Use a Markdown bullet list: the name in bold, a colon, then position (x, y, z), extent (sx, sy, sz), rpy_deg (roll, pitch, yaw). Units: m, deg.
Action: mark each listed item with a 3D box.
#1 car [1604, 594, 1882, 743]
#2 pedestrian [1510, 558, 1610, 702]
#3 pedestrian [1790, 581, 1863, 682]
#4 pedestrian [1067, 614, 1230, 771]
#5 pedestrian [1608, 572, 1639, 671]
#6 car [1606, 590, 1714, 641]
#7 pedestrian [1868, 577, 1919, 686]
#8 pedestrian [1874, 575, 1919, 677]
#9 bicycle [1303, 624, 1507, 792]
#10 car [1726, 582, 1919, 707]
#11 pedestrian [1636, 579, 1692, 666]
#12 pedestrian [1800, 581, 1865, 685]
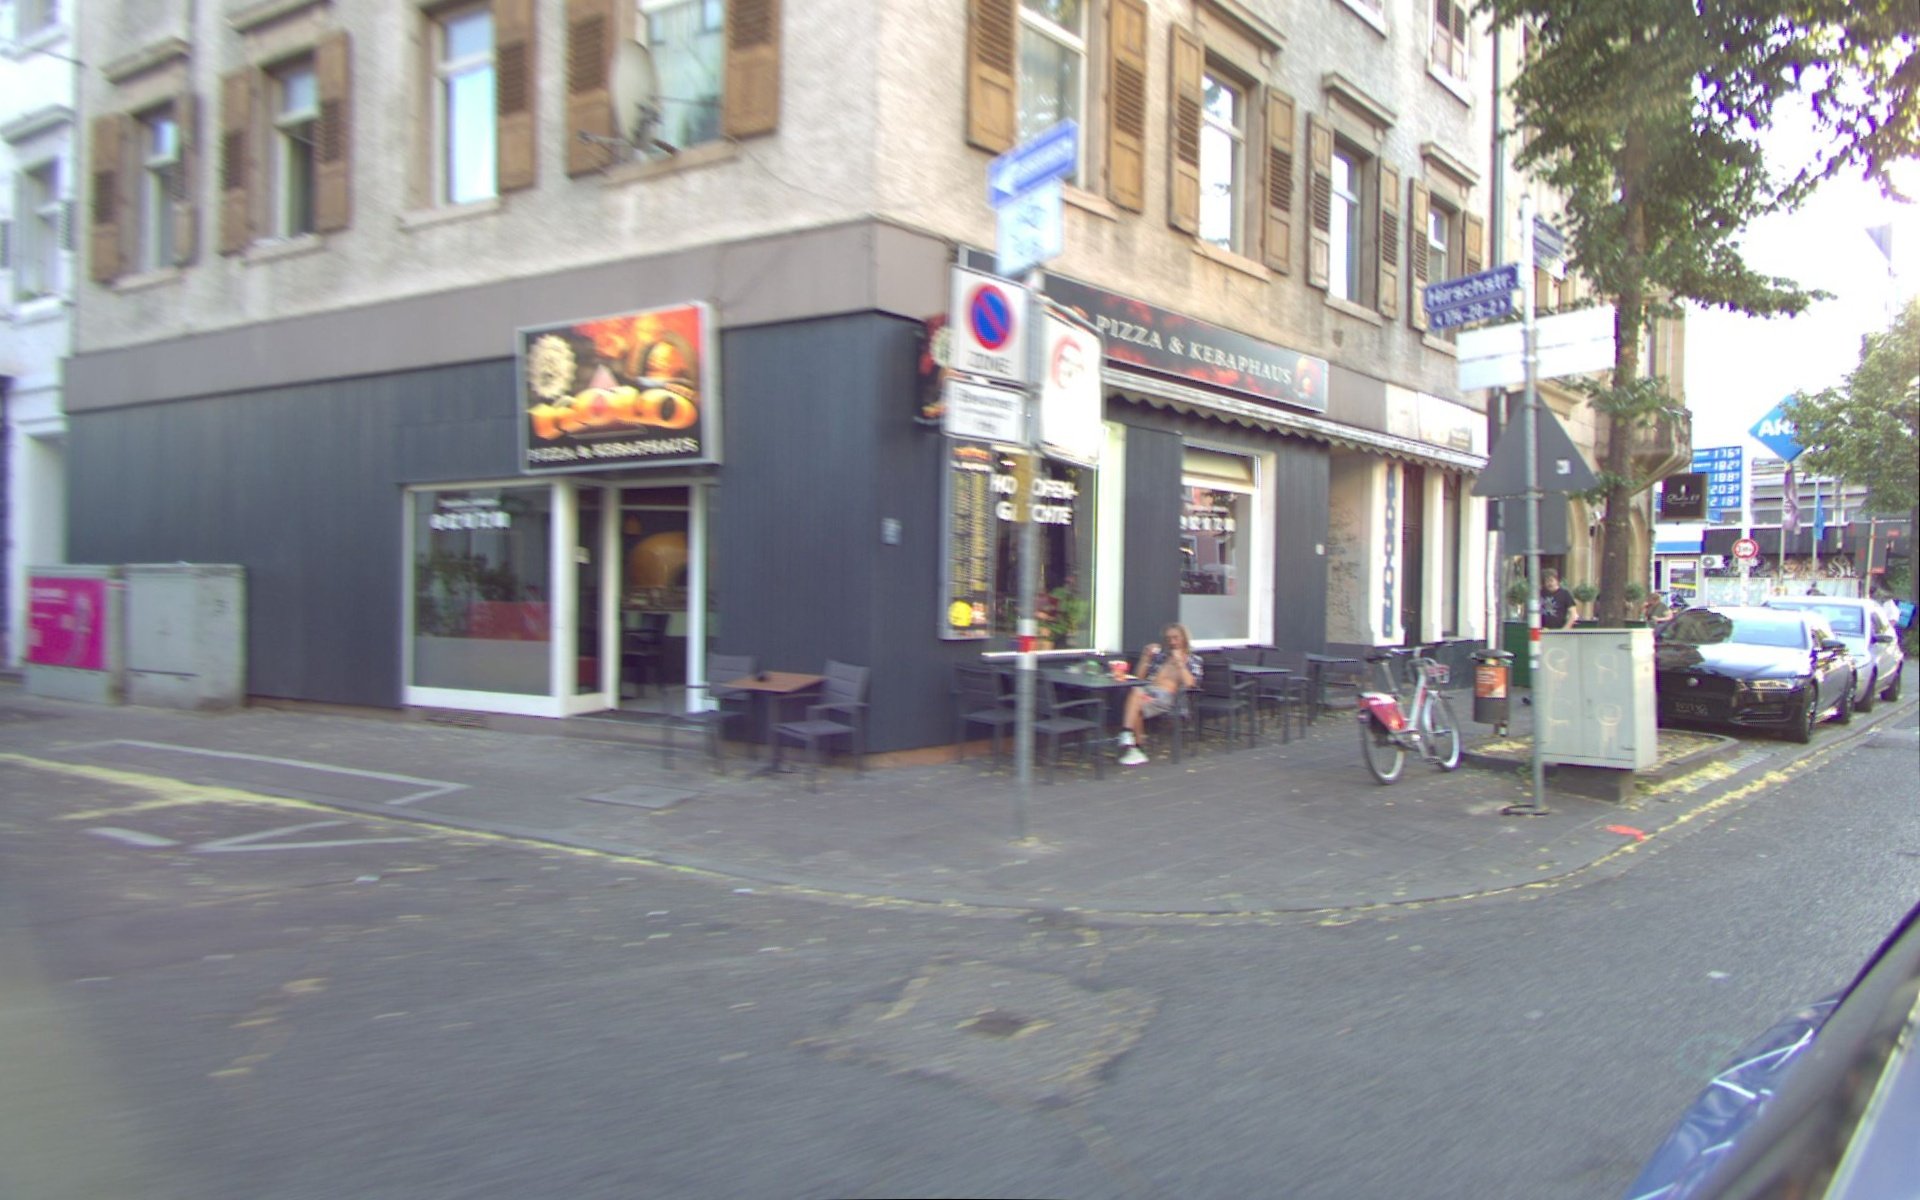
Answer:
- **car**: position (9.581, 0.690, 12.249), extent (4.444, 1.392, 1.789), rpy_deg (0, 3, -41)
- **pedestrian**: position (8.261, 0.384, 13.932), extent (1.078, 1.876, 0.824), rpy_deg (1, 3, -42)
- **pedestrian**: position (15.508, 0.547, 18.127), extent (0.642, 1.721, 0.667), rpy_deg (3, 2, 5)
- **pedestrian**: position (1.632, 0.742, 8.693), extent (1.337, 1.155, 0.683), rpy_deg (-2, 3, -41)
- **pedestrian**: position (12.988, 0.415, 19.819), extent (0.458, 1.899, 0.495), rpy_deg (2, 0, 34)
- **car**: position (22.831, 0.439, 32.954), extent (4.823, 1.448, 1.738), rpy_deg (-1, 3, -41)
- **pedestrian**: position (15.825, 0.512, 17.063), extent (0.676, 1.776, 0.813), rpy_deg (2, 1, 39)
- **pedestrian**: position (17.823, 0.480, 18.886), extent (1.012, 1.848, 0.769), rpy_deg (4, 3, 40)
- **bicycle**: position (3.655, 0.808, 8.241), extent (1.866, 1.125, 0.780), rpy_deg (-1, 2, -41)
- **car**: position (13.281, 0.592, 15.446), extent (3.942, 1.594, 1.691), rpy_deg (0, 3, -41)
- **pedestrian**: position (13.446, 0.419, 19.324), extent (0.689, 1.581, 0.660), rpy_deg (1, 3, -41)
- **pedestrian**: position (15.162, 0.554, 17.608), extent (0.675, 1.726, 0.815), rpy_deg (4, 2, 35)
